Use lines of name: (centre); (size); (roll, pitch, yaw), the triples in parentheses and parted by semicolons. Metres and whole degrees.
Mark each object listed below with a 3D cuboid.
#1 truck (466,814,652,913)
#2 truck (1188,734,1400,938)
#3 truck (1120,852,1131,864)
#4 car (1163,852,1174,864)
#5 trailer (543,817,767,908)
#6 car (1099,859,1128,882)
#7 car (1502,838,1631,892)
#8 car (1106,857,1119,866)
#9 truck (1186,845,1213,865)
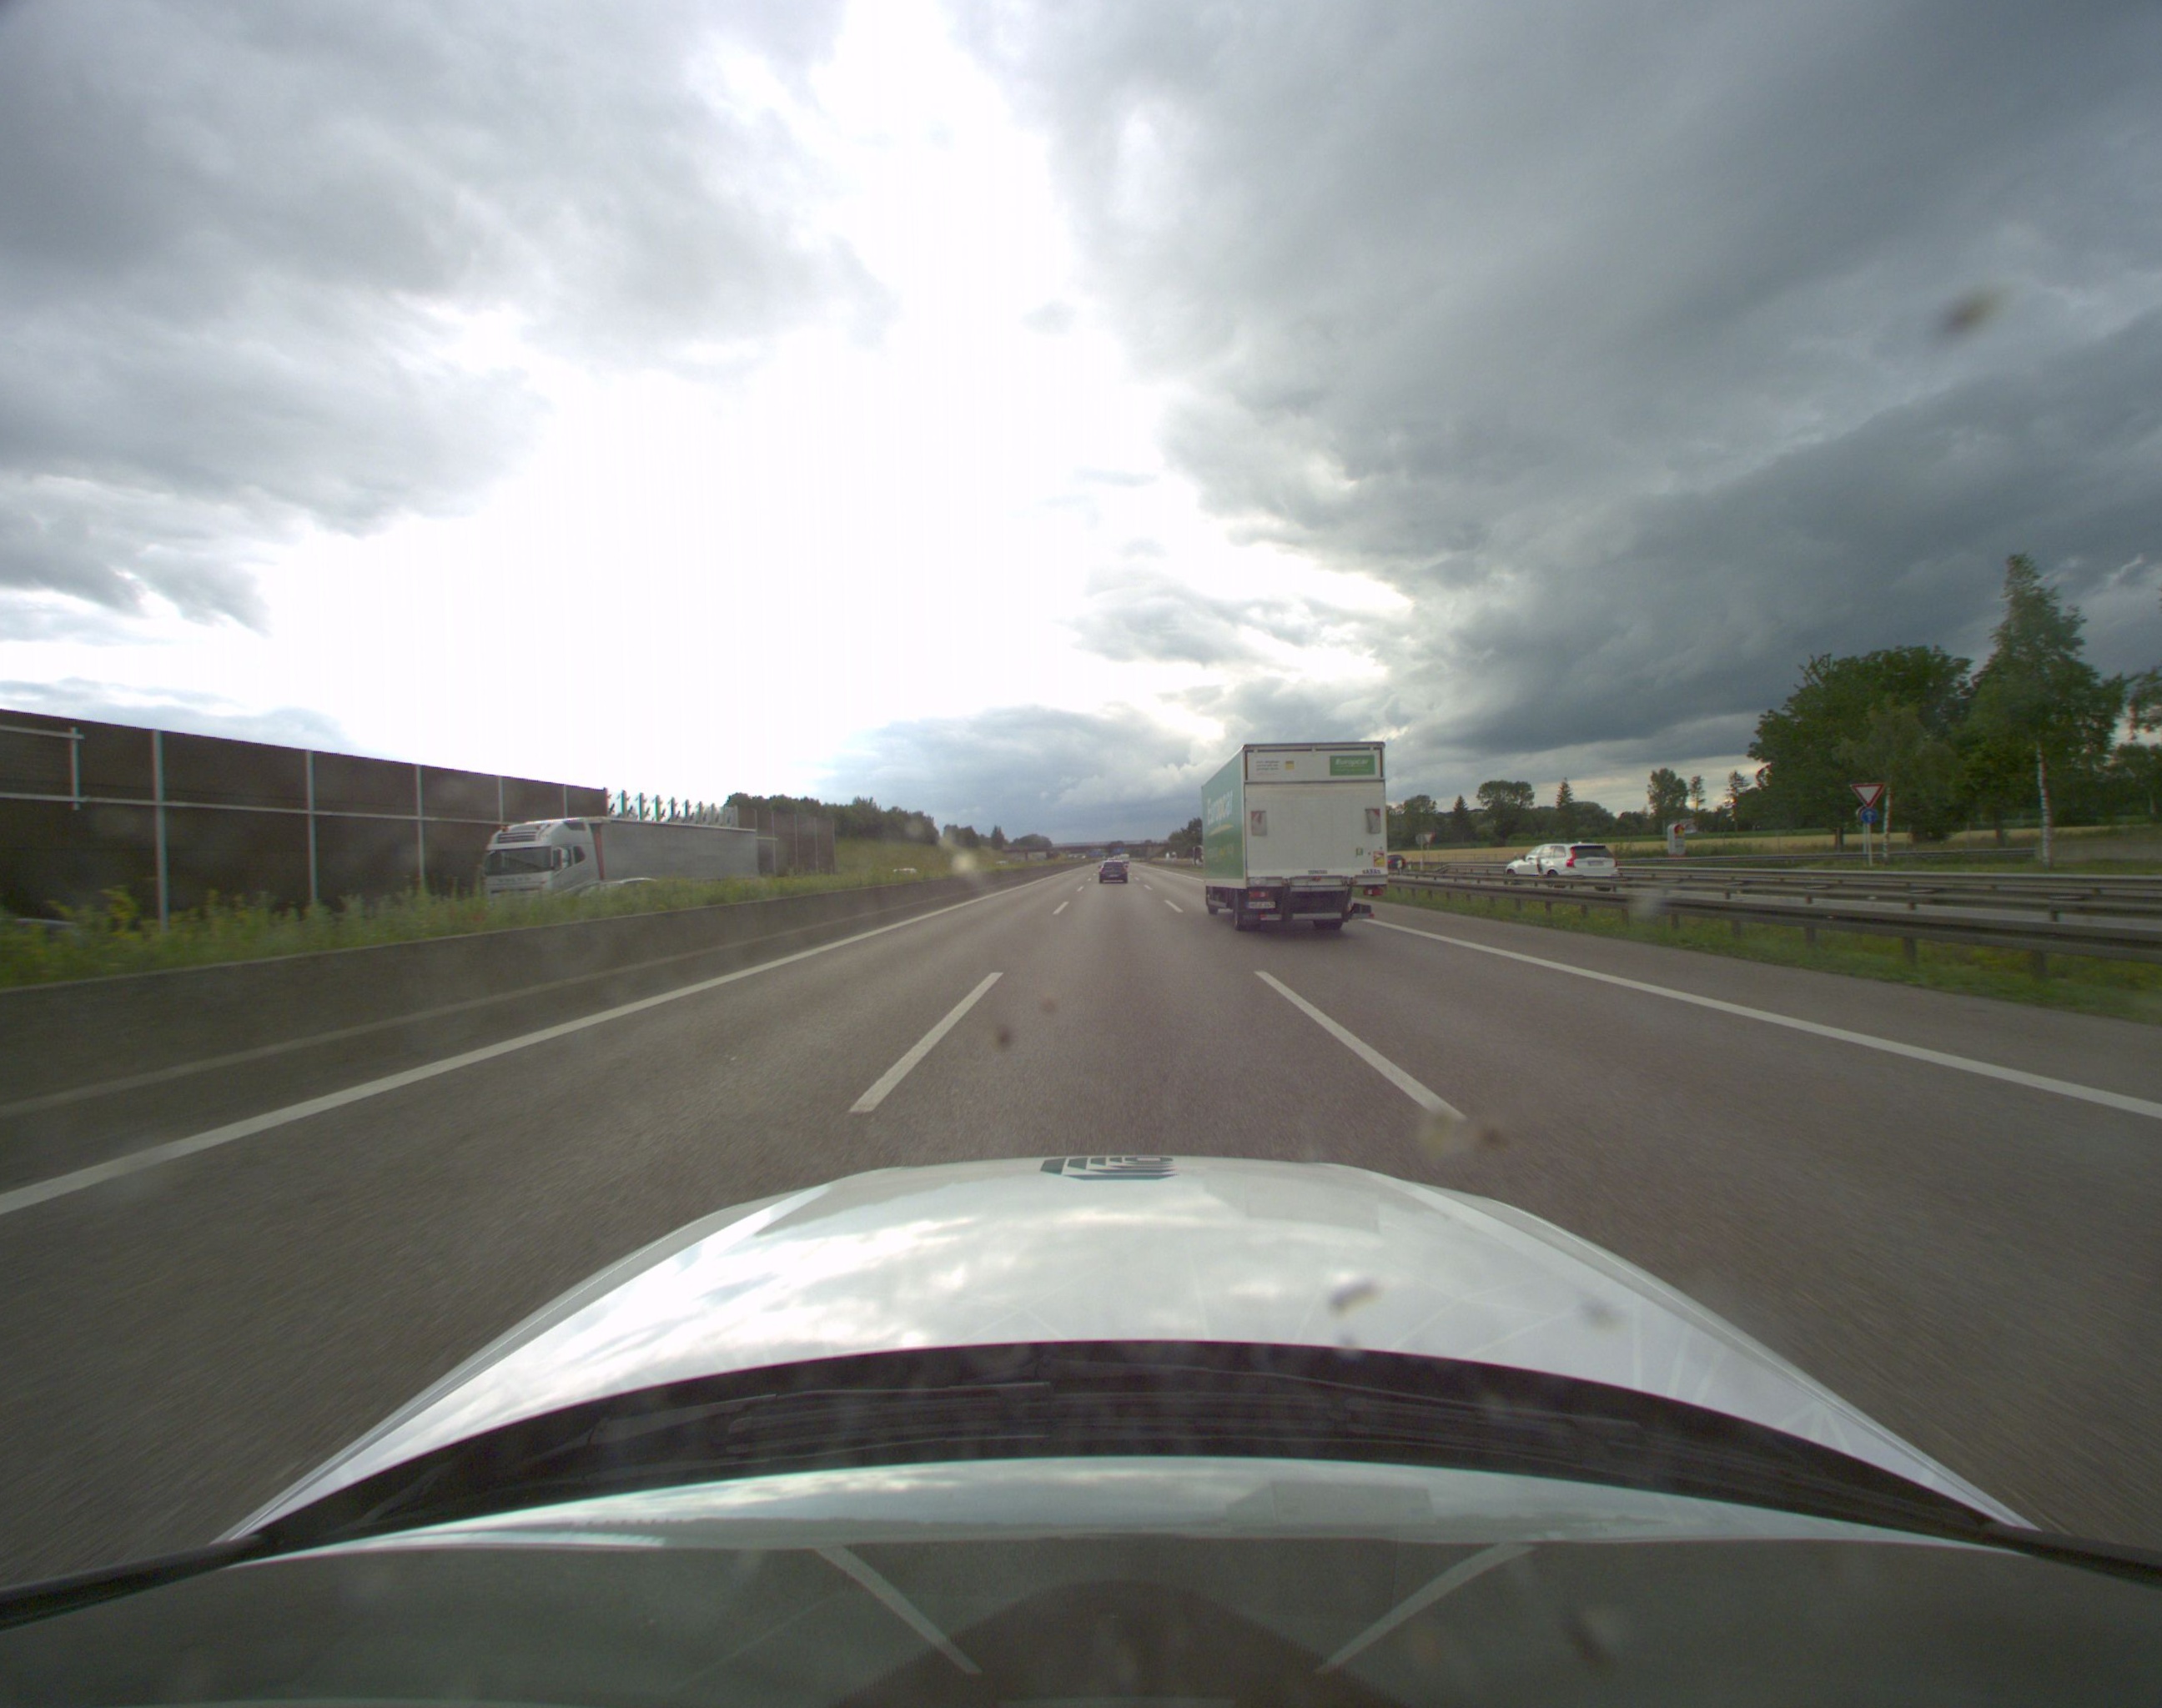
truck: (-19.076, 0.332, 30.270); (2.814, 3.227, 5.983); (-2, -1, 2)
truck: (4.278, -0.291, 18.642); (2.759, 3.504, 9.066); (-1, 0, 2)
truck: (12.061, 1.136, 222.867); (2.700, 2.964, 12.451); (0, -1, 2)
car: (20.371, 0.924, 189.655); (2.212, 2.568, 6.259); (-1, 0, 2)
trailer: (-18.818, 0.365, 37.746); (2.809, 3.377, 13.516); (-2, 0, 2)
car: (2.044, 1.021, 51.499); (1.736, 1.389, 4.002); (-1, 0, 2)
car: (17.585, 0.383, 29.829); (1.821, 1.757, 5.067); (-2, 0, 2)
car: (5.096, 1.205, 133.001); (1.986, 1.298, 4.001); (-2, -1, 1)
truck: (21.194, 0.191, 145.630); (3.098, 3.471, 8.879); (0, -1, -3)
